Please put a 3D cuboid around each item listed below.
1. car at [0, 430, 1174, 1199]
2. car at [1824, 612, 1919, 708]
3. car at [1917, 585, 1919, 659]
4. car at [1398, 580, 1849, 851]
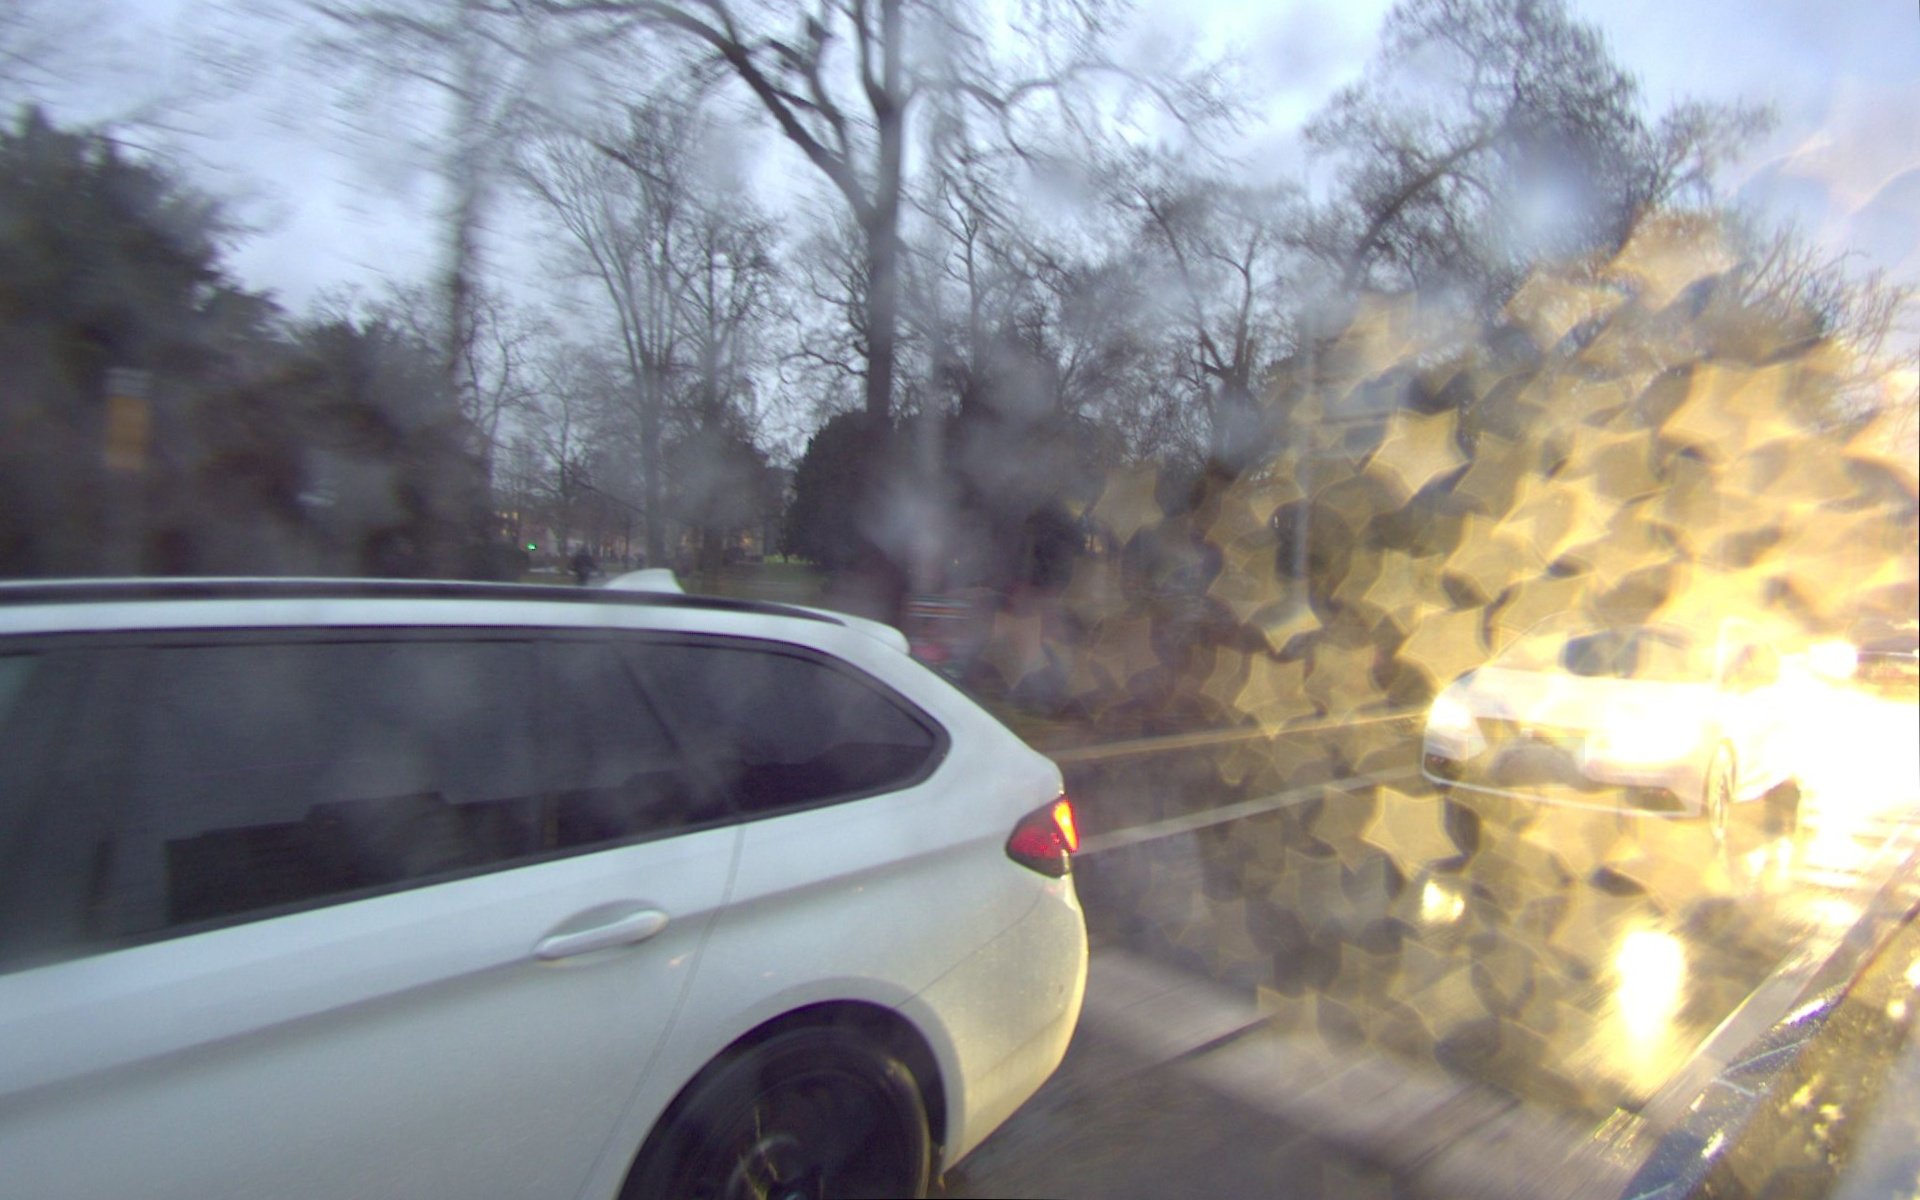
[{"bbox_3d":[-1.892,0.556,1.641,4.880,1.520,1.790,-1,1,-40],"label":"car"},{"bbox_3d":[17.588,1.052,18.687,4.006,1.516,1.880,-1,2,-41],"label":"car"},{"bbox_3d":[24.405,0.529,24.304,3.797,1.771,1.678,0,2,-41],"label":"car"},{"bbox_3d":[5.140,0.622,7.643,3.969,1.479,1.778,0,2,-40],"label":"car"}]
